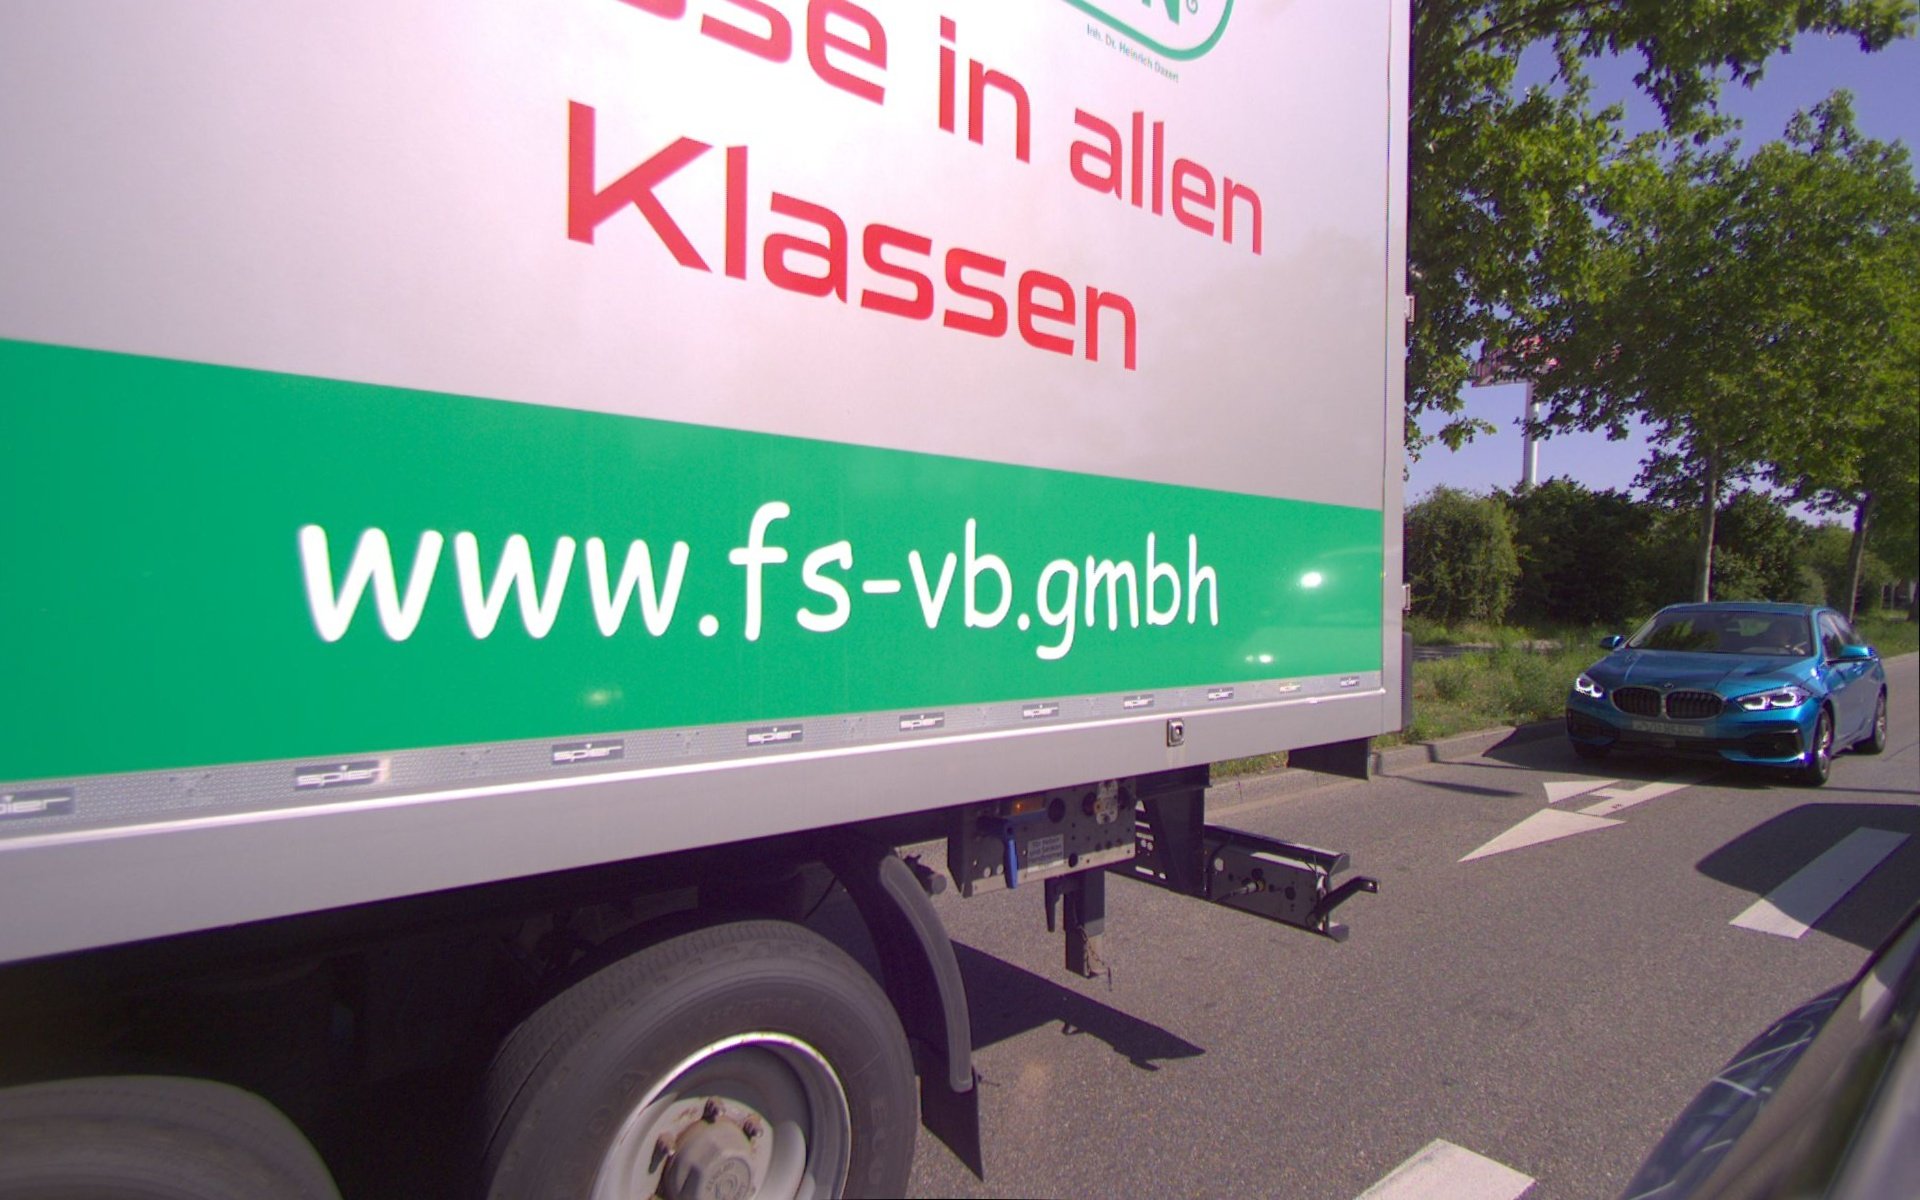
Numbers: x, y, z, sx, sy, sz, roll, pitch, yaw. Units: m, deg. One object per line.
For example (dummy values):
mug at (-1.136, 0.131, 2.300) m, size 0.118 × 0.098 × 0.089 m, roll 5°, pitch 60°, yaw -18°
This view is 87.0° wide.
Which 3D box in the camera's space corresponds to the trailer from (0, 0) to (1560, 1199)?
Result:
trailer at (-2.002, -0.672, 1.767) m, size 7.596 × 3.924 × 2.743 m, roll -1°, pitch 2°, yaw -39°

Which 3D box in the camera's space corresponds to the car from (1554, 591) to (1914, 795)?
car at (7.330, 0.665, 9.444) m, size 4.058 × 1.437 × 1.871 m, roll 0°, pitch 2°, yaw -41°
